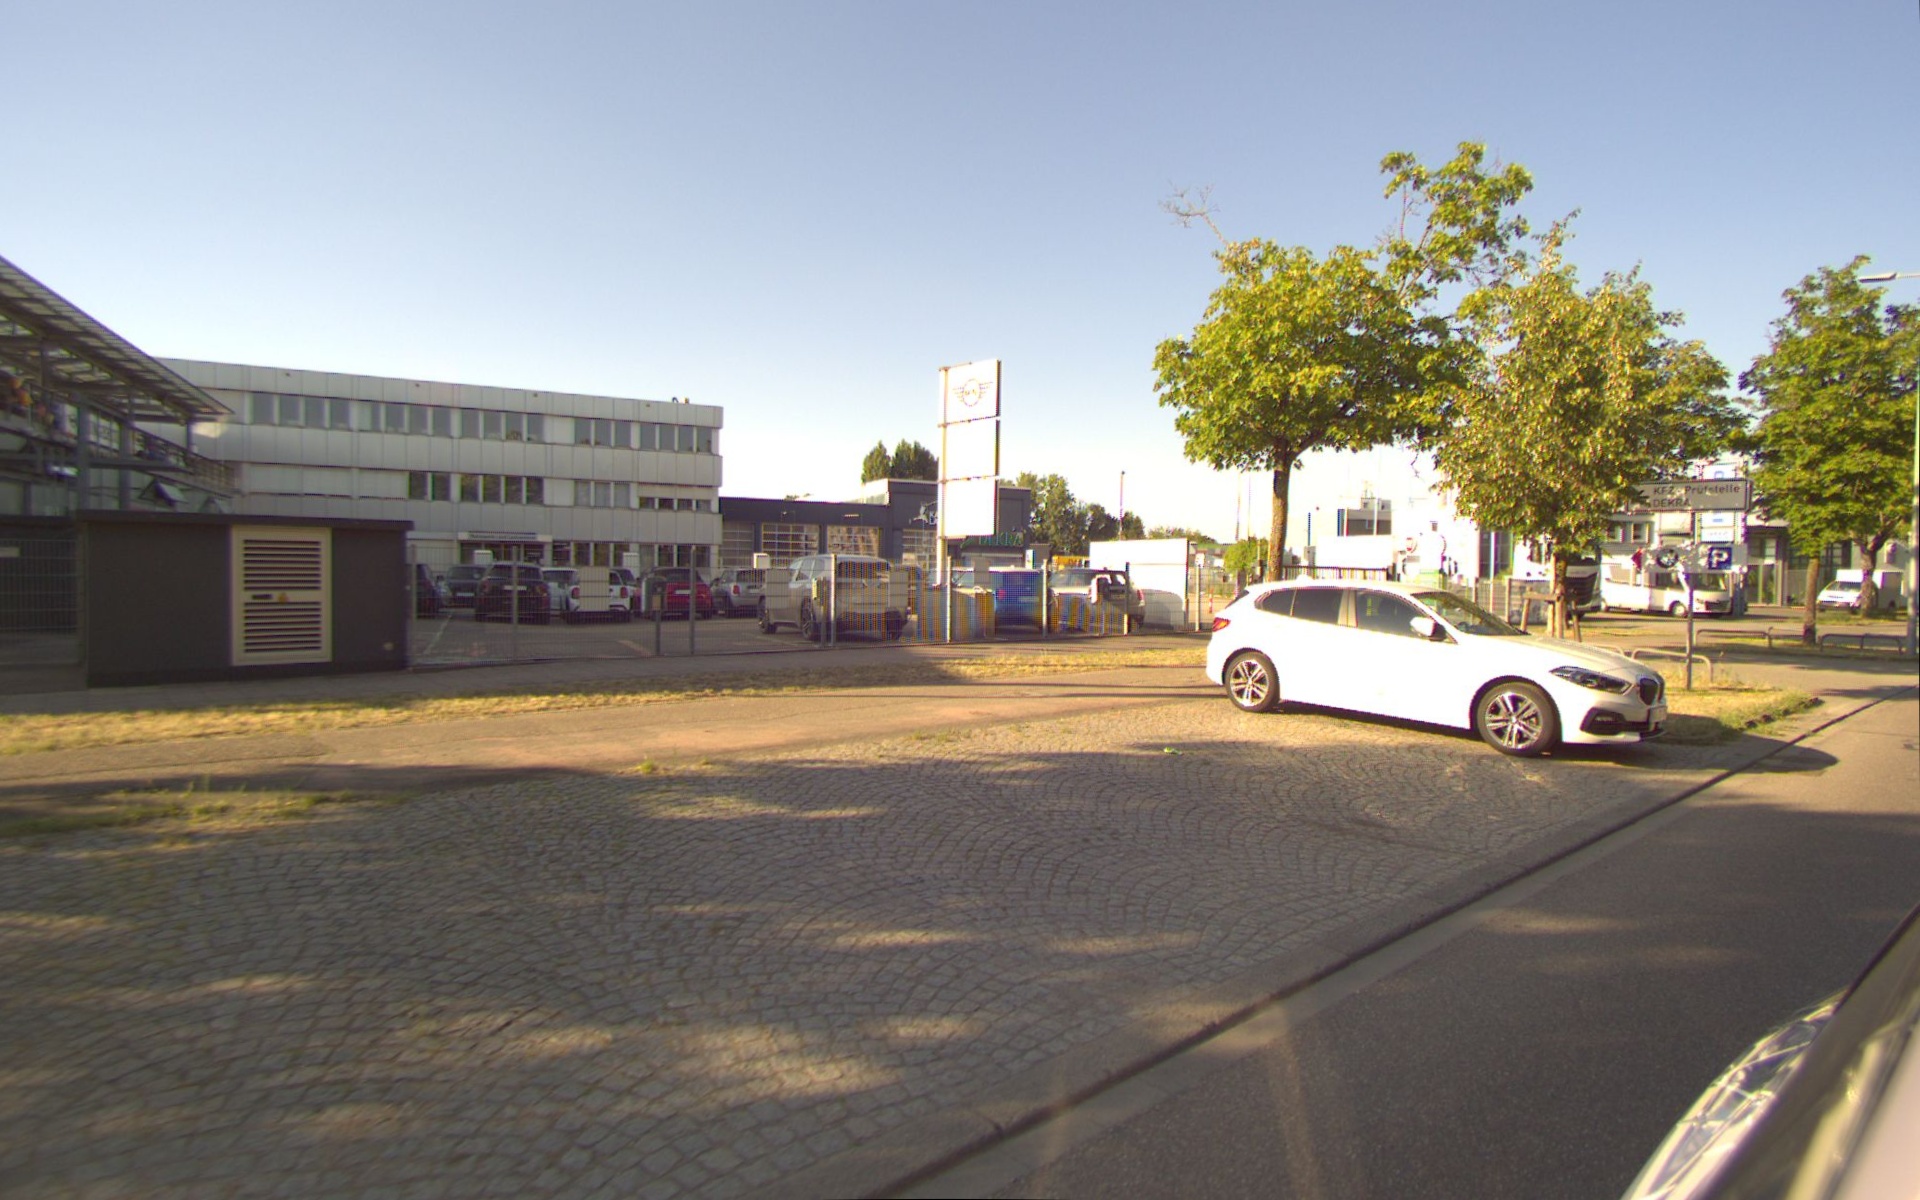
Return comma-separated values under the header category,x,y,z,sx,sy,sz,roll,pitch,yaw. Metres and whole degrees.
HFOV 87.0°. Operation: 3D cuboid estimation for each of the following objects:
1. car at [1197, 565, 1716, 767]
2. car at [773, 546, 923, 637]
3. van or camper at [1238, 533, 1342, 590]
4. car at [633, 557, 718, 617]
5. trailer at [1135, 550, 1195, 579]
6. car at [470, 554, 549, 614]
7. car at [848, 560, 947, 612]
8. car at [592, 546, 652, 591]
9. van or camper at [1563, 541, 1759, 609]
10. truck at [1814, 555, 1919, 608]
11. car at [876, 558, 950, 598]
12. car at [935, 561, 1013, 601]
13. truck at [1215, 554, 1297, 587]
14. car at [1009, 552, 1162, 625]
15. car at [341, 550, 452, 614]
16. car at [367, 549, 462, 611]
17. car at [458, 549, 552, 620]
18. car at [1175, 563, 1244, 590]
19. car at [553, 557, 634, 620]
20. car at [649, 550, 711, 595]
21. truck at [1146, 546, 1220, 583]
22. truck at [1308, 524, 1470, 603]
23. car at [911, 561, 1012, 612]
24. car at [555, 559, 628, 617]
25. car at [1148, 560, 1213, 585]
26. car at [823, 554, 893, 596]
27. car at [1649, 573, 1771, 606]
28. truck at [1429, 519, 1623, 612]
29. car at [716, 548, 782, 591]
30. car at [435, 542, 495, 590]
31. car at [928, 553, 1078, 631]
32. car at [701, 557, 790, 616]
category,x,y,z,sx,sy,sz,roll,pitch,yaw
car,4.776,0.454,10.203,2.052,1.461,4.206,-1,4,-42
car,-2.325,-0.221,20.028,1.958,1.598,4.009,0,2,-21
van or camper,21.021,-2.464,65.038,2.364,3.370,8.157,1,2,-14
car,-8.409,-0.438,29.666,1.958,1.597,4.009,-2,3,-21
trailer,18.152,-3.142,89.784,4.758,2.466,2.004,1,2,-9
car,-14.004,-0.543,31.681,1.958,1.598,4.009,5,0,-22
car,-2.086,-0.484,32.509,1.884,1.549,4.009,0,2,-24
car,-14.055,-1.301,41.984,1.958,1.762,4.008,0,2,-24
van or camper,33.205,-1.226,48.472,2.882,2.935,8.027,1,2,-9
truck,50.482,-1.007,56.039,5.847,2.753,2.552,1,1,-24
car,-2.066,-0.950,43.036,1.958,1.598,4.009,0,2,-21
car,0.533,-0.821,42.932,1.958,1.598,4.009,0,2,-21
truck,27.304,-2.725,93.363,6.967,2.942,2.004,1,1,-8
car,2.907,-0.332,24.354,1.958,1.598,4.009,0,2,-21
car,-14.602,-0.506,26.454,1.958,1.464,4.009,3,1,-21
car,-16.491,-0.646,30.797,1.958,1.598,4.009,5,0,-22
car,-12.034,-0.449,26.994,1.958,1.598,4.009,5,0,-22
car,19.761,-1.862,80.238,4.947,2.039,2.003,0,-1,-10
car,-10.441,-0.365,28.717,1.958,1.598,4.009,2,1,-21
car,-10.769,-1.082,38.733,1.865,1.597,4.009,-2,3,-21
truck,23.215,-3.684,105.653,6.967,3.619,2.682,1,2,-8
truck,22.020,-1.907,52.861,3.229,3.689,10.134,1,2,-6
car,-0.025,-0.481,33.400,1.884,1.549,4.009,0,2,-23
car,-11.999,-0.443,32.839,1.958,1.598,4.009,5,0,-22
car,18.591,-2.302,85.381,4.947,2.038,2.004,1,2,-10
car,-4.278,-1.075,41.848,1.865,1.597,4.009,-2,3,-21
car,37.970,-0.549,51.313,4.795,1.510,1.970,3,2,41
truck,23.846,-1.469,43.333,3.053,3.565,8.264,1,2,-4
car,-9.288,-1.347,44.276,1.958,1.762,4.008,0,2,-24
car,-19.202,-1.326,39.375,1.958,1.762,4.008,0,2,-24
car,0.869,-0.237,23.147,1.958,1.598,4.009,0,2,-21
car,-6.557,-0.474,30.660,1.958,1.597,4.009,-2,3,-21
